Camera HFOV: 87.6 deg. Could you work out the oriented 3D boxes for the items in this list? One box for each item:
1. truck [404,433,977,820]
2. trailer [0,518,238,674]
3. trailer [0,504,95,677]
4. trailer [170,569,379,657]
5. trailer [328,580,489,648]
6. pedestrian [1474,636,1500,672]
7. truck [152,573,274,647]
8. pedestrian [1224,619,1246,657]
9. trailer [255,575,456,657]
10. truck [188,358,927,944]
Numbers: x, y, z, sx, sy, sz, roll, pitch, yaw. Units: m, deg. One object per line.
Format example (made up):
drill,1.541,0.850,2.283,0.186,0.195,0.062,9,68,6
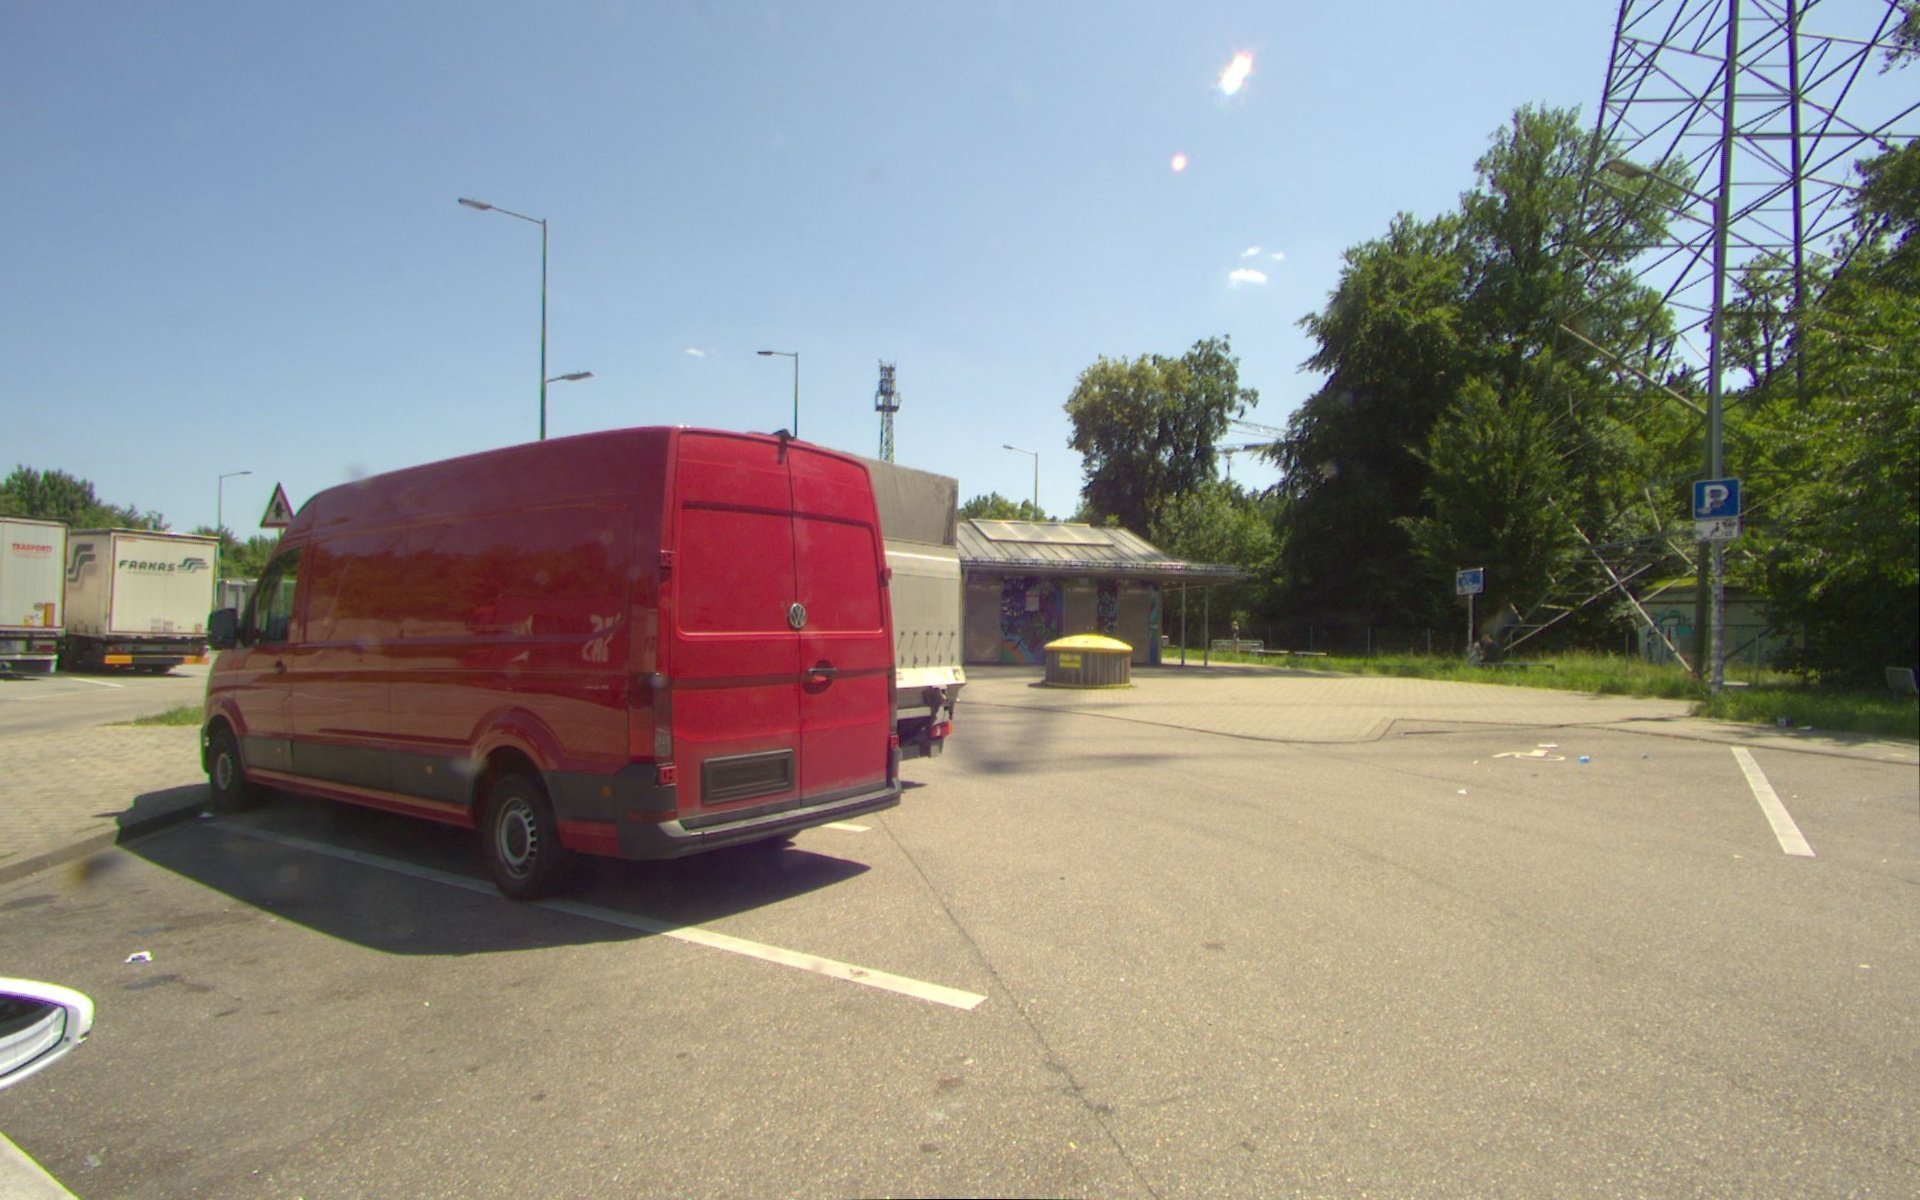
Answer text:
truck,-3.092,0.280,10.506,6.372,2.944,2.411,-1,-2,37
trailer,-27.620,-0.160,31.593,13.561,4.162,2.854,1,-2,32
trailer,-28.693,-0.334,28.006,13.561,4.162,2.854,1,-2,32
trailer,-32.482,0.495,47.083,13.561,3.646,2.854,1,-2,32
trailer,-36.176,0.858,65.322,13.561,3.955,2.854,1,-2,32
pedestrian,14.637,1.504,27.801,0.439,0.987,0.460,0,-1,-19
truck,-37.554,0.485,50.307,5.887,3.406,2.862,1,-2,32
pedestrian,12.040,1.655,43.803,0.904,1.639,0.813,-1,-1,18
trailer,-30.881,0.720,50.764,13.561,3.646,2.854,1,-2,32
truck,-3.343,0.308,7.322,6.372,2.685,2.005,-1,-2,37
